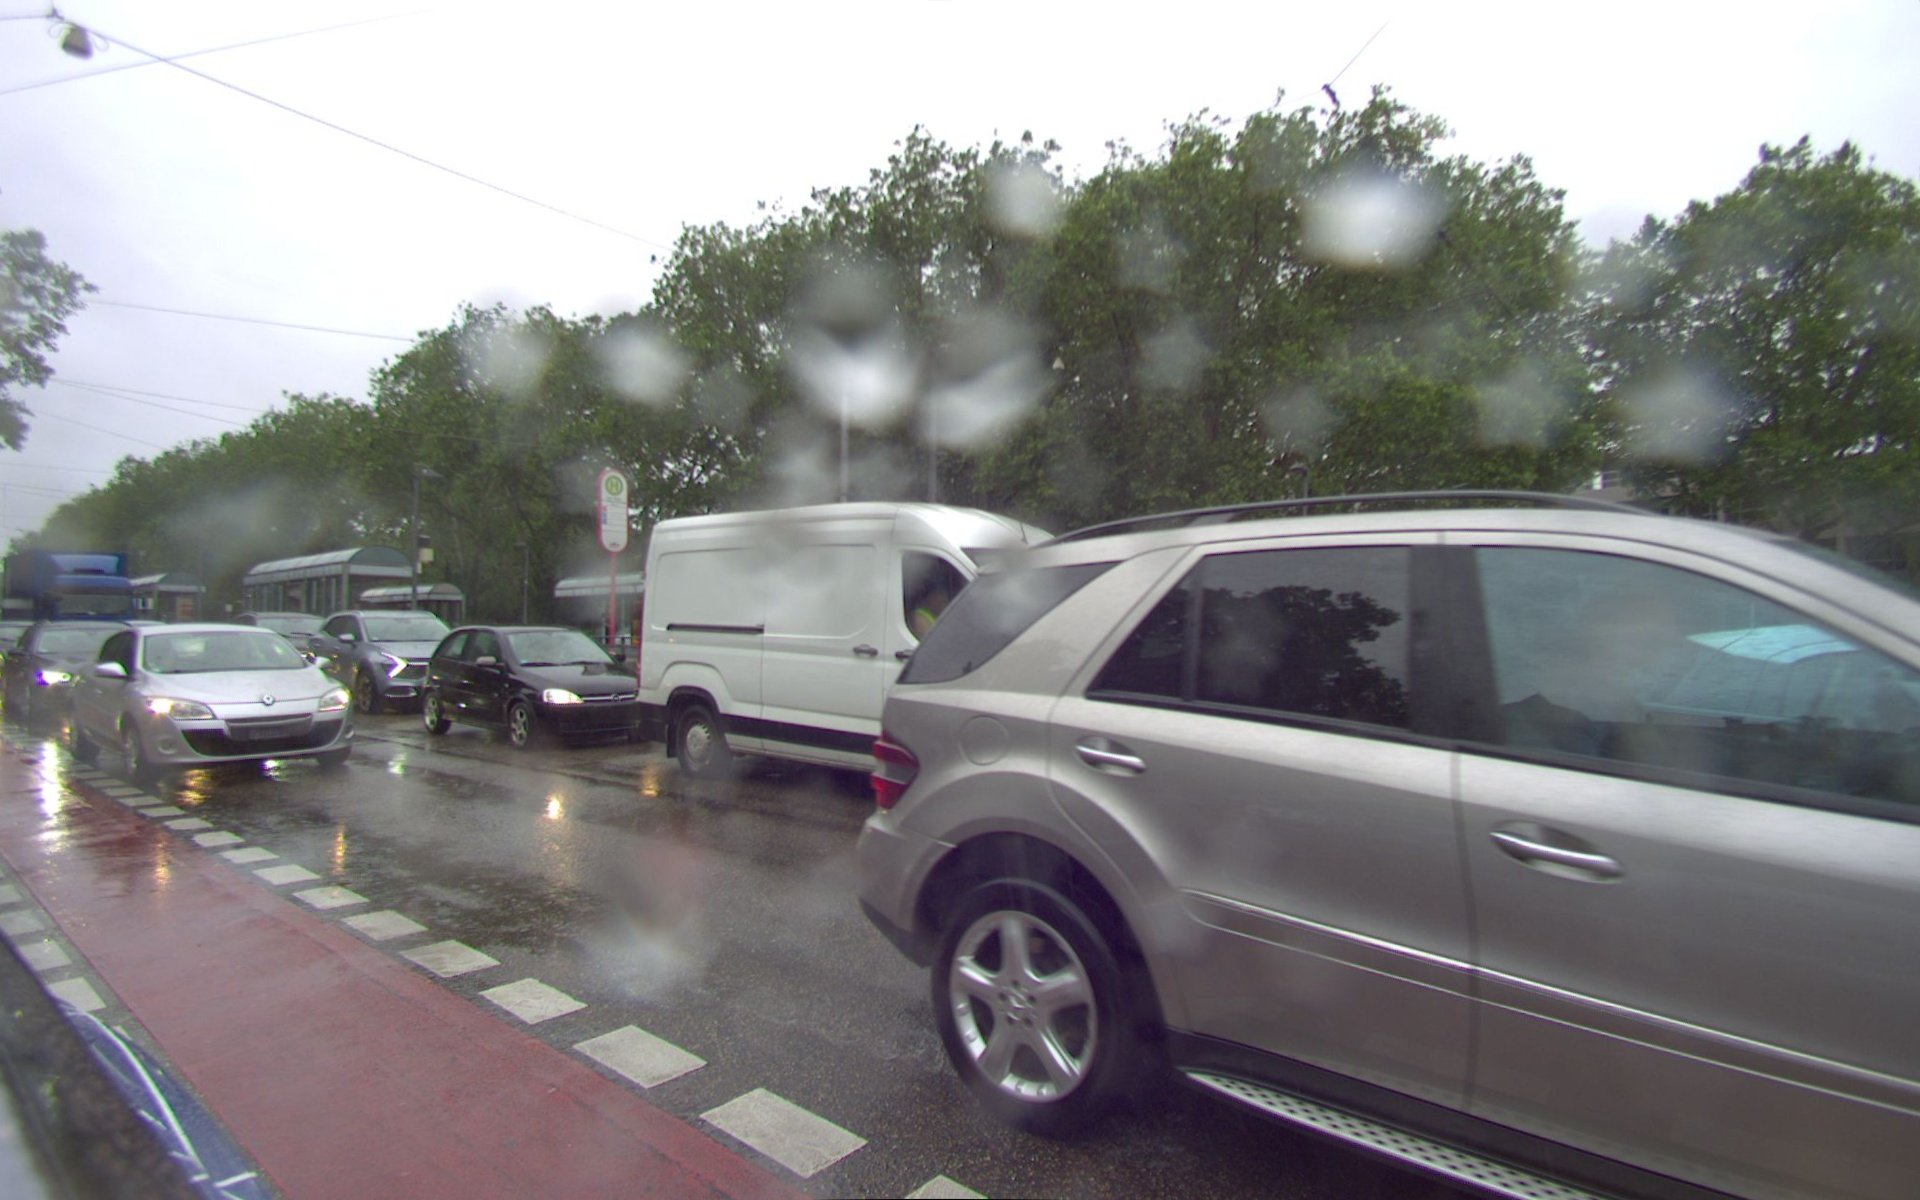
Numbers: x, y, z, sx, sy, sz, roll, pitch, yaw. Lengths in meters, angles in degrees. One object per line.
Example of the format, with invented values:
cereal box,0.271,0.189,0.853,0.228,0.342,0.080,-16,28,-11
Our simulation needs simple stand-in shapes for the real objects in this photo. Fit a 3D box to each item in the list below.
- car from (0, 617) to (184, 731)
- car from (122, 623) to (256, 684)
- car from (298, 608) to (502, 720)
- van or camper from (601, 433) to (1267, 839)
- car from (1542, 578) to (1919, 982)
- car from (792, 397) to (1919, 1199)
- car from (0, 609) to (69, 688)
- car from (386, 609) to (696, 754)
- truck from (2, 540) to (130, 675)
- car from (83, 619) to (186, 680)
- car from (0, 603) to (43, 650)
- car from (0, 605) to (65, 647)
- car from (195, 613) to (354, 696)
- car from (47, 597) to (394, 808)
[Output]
car,-14.140,1.119,16.298,4.667,1.561,1.887,-3,-2,43
car,-19.821,1.345,25.968,4.187,1.418,1.889,-3,-2,40
car,-9.556,1.032,17.123,4.247,1.647,1.823,-3,-2,43
van or camper,-0.605,0.323,8.964,5.965,2.490,2.153,-2,-2,40
car,4.940,0.701,4.176,4.074,1.599,1.782,-3,-3,43
car,1.832,0.523,2.625,4.676,1.659,1.889,-3,-2,40
car,-21.687,1.094,22.919,4.191,1.659,1.887,-3,-2,43
car,-5.438,0.950,12.825,4.553,1.525,1.763,-3,-2,41
truck,-31.795,0.392,35.860,8.349,4.309,2.386,-3,-2,41
car,-24.420,1.454,29.899,4.191,1.659,1.887,-3,-2,44
car,-46.393,1.277,49.135,5.453,2.166,2.313,-1,0,43
car,-40.680,1.120,44.142,3.998,1.728,1.973,-1,0,41
car,-15.317,1.187,22.531,4.187,1.659,1.889,-3,-2,40
car,-7.800,0.931,10.532,4.263,1.755,1.951,-3,-2,40
